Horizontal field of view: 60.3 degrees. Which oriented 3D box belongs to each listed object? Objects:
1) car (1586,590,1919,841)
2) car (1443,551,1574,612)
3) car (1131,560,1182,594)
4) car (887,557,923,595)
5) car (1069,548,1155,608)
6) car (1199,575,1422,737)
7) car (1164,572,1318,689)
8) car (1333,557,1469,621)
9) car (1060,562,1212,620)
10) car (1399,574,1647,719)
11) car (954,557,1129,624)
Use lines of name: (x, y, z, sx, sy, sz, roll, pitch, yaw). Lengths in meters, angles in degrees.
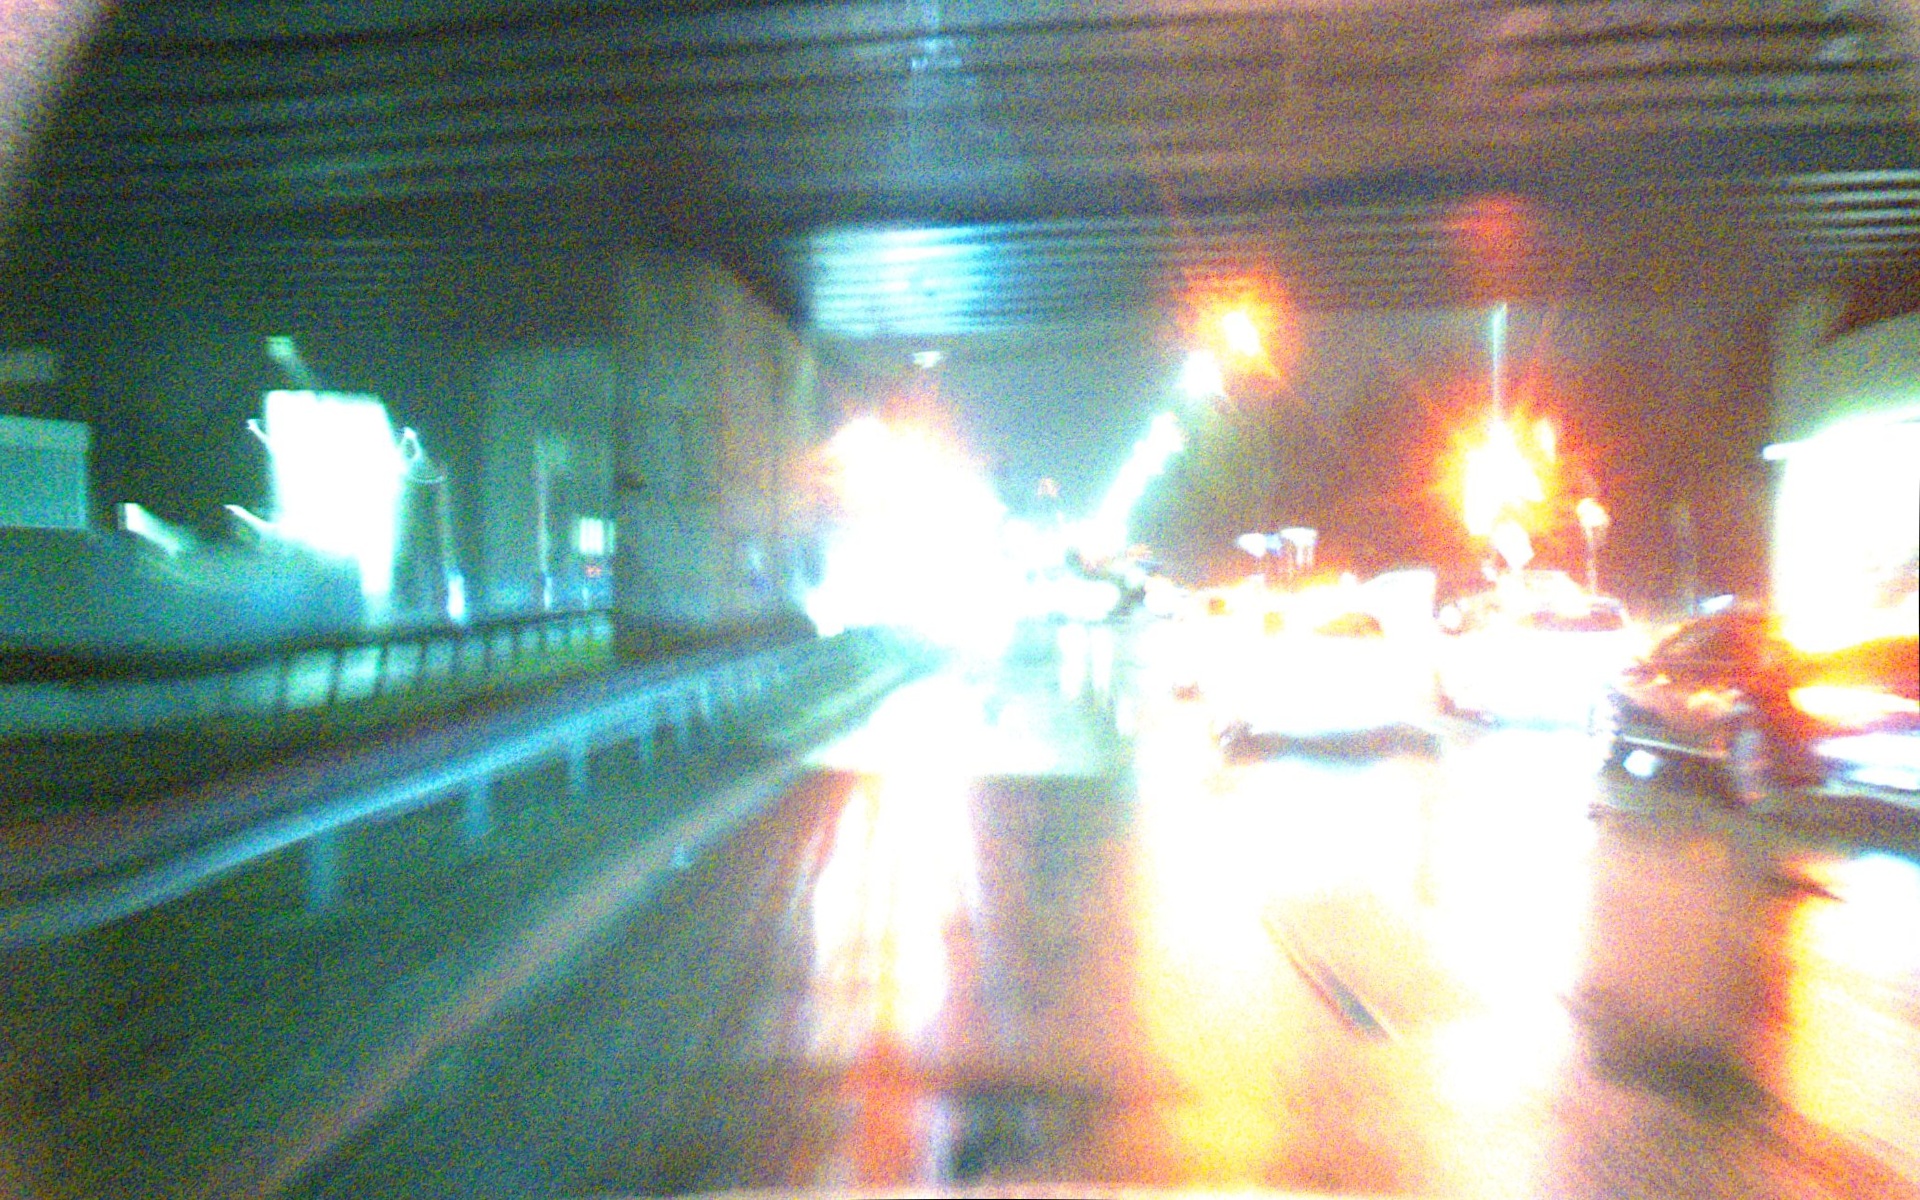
car: (6.394, 0.700, 12.605, 1.684, 1.513, 4.789, -1, 1, 4)
car: (18.732, -0.642, 56.678, 4.202, 2.049, 2.046, 0, 0, 17)
car: (9.281, -1.073, 78.377, 2.048, 1.572, 4.308, 0, 0, 2)
car: (-2.669, -1.158, 80.224, 1.683, 1.764, 3.763, 0, 0, -2)
car: (5.876, -0.847, 64.601, 2.394, 2.232, 5.072, 0, 0, -6)
car: (3.505, 0.492, 17.229, 1.684, 1.472, 4.164, 0, 1, 4)
car: (3.928, 0.375, 23.742, 1.684, 1.472, 4.385, -2, 0, 4)
car: (14.540, -0.373, 54.473, 4.203, 2.049, 2.046, 0, 0, 18)
car: (5.238, -0.286, 49.588, 4.305, 1.651, 1.825, 1, 0, 43)
car: (6.430, 0.469, 19.364, 1.684, 1.472, 4.164, -2, 0, 4)
car: (2.254, -0.272, 46.665, 4.742, 1.800, 1.830, 0, 0, 37)
